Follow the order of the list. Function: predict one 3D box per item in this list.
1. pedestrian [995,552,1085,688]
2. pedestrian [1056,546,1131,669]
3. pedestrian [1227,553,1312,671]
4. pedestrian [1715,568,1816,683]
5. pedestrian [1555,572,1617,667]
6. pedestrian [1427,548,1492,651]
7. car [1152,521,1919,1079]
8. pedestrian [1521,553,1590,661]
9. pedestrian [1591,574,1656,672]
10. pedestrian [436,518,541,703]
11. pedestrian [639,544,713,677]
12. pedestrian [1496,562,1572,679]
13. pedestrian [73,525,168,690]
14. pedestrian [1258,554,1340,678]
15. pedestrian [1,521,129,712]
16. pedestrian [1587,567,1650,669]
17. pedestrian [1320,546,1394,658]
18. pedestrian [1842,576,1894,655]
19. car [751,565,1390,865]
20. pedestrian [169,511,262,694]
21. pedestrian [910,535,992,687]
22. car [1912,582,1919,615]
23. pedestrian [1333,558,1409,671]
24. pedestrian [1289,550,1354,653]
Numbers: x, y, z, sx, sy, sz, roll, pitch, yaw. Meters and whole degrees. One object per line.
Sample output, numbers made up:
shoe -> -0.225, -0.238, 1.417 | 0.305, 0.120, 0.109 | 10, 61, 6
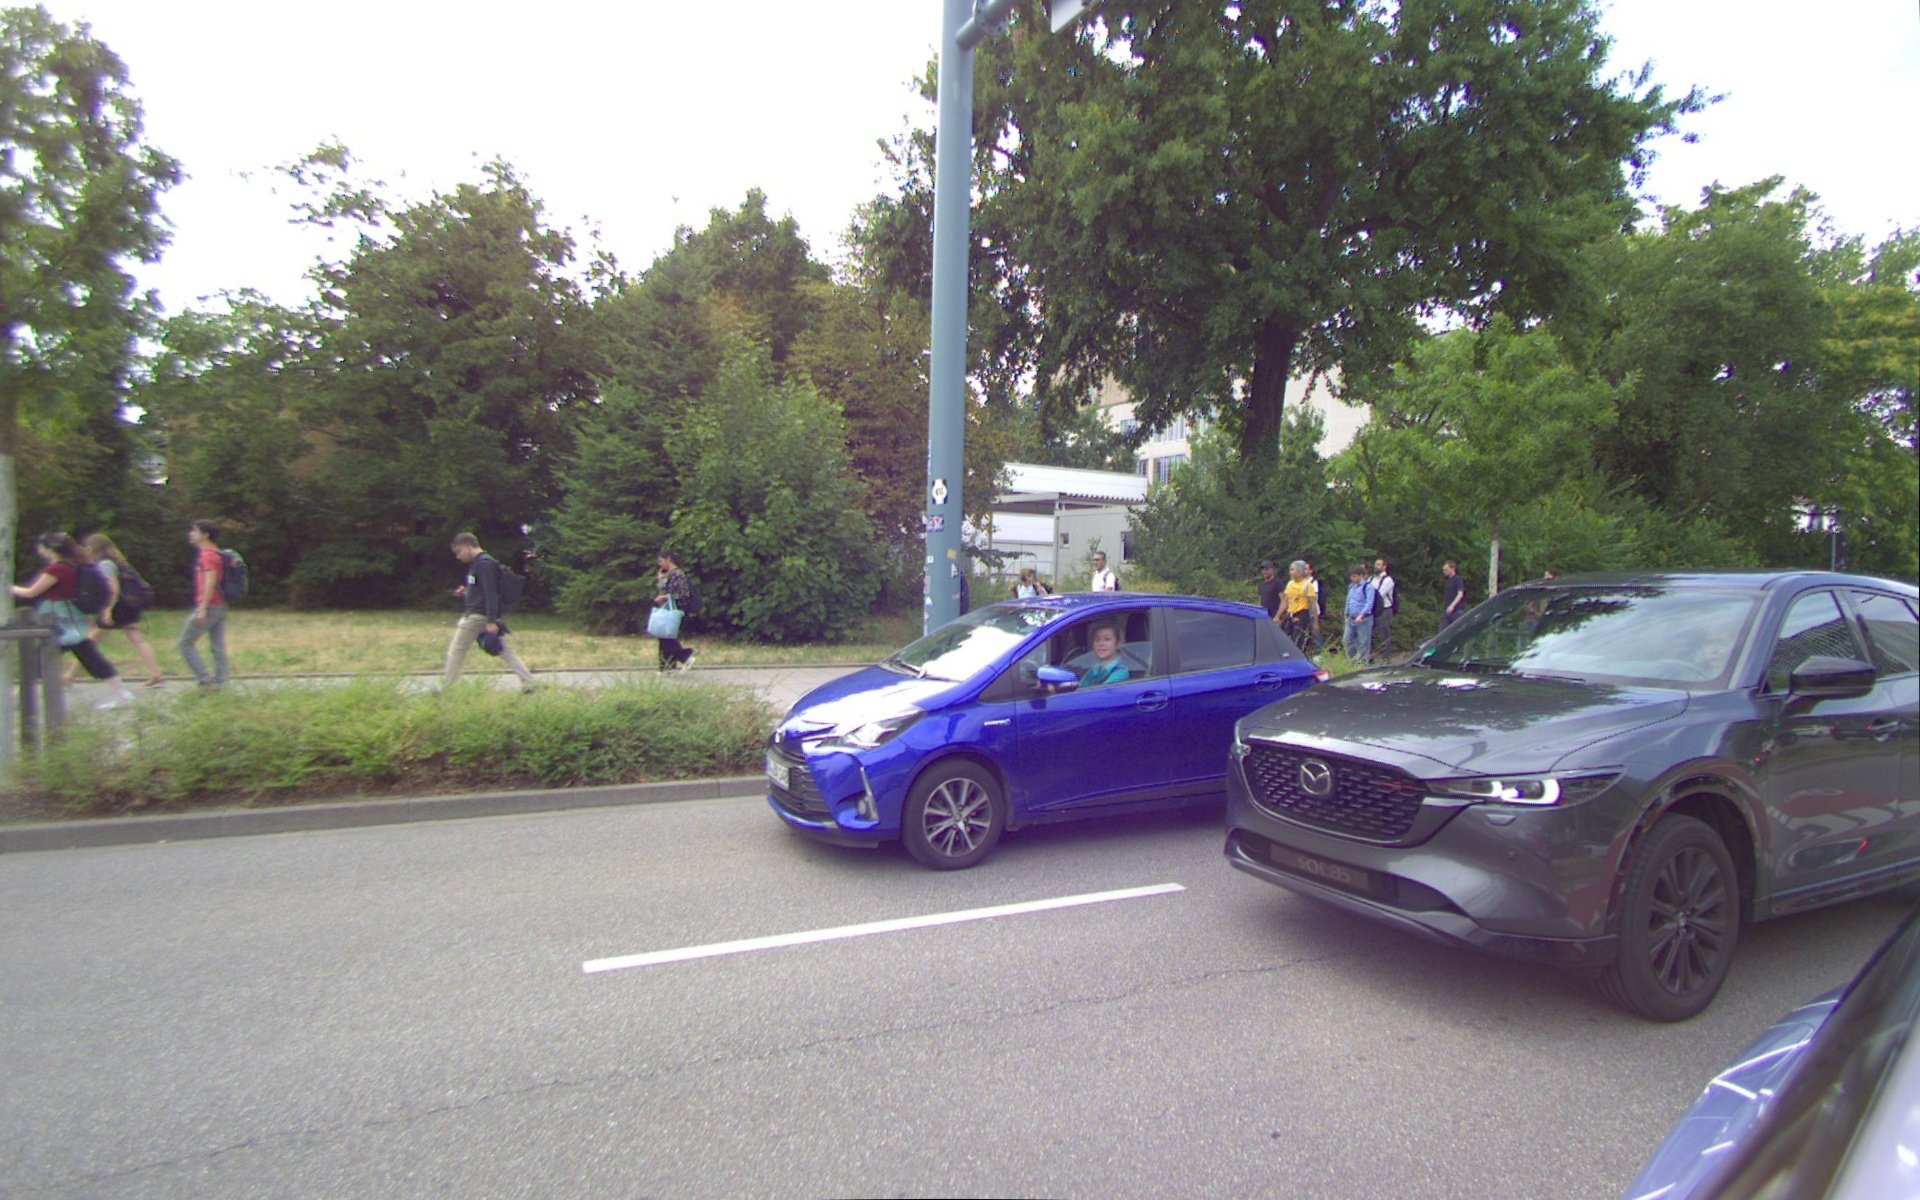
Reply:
pedestrian -> 0.980, 0.234, 12.572 | 0.795, 1.622, 0.779 | 1, 1, -24
pedestrian -> 1.978, 0.096, 15.020 | 0.795, 1.766, 0.725 | 1, 1, -24
pedestrian -> 4.557, 0.161, 14.912 | 0.951, 1.687, 0.660 | 1, 1, -27
pedestrian -> 13.441, 0.402, 16.927 | 0.871, 1.853, 0.936 | 2, 1, 3
pedestrian -> 12.018, 0.360, 19.448 | 0.764, 1.767, 0.660 | 1, 1, -27
pedestrian -> 8.810, -0.013, 17.851 | 0.764, 1.767, 0.660 | 1, 1, -27
car -> 3.358, 0.593, 4.909 | 4.549, 1.669, 1.909 | 0, 0, -27
pedestrian -> 9.969, 0.101, 16.957 | 0.764, 1.767, 0.627 | 1, 1, -27
pedestrian -> 12.328, 0.422, 18.819 | 0.764, 1.767, 0.660 | 1, 1, -27
pedestrian -> -4.913, 0.101, 10.584 | 0.934, 1.844, 0.696 | 1, 1, -24
pedestrian -> -3.540, 0.123, 12.612 | 0.769, 1.603, 0.639 | 1, 1, -24
pedestrian -> 8.904, 0.306, 15.708 | 0.764, 1.767, 0.660 | 1, 1, -27
pedestrian -> -8.678, 0.072, 10.477 | 0.639, 1.653, 0.470 | 1, 1, -24
pedestrian -> 4.818, 0.210, 14.390 | 0.824, 1.710, 0.660 | 1, 1, -27
pedestrian -> -8.203, 0.139, 9.301 | 0.738, 1.675, 0.558 | 1, 1, -24
pedestrian -> 11.730, 0.316, 18.024 | 0.773, 1.767, 0.584 | 1, 1, -27
pedestrian -> 6.545, 0.039, 16.682 | 0.938, 1.789, 0.659 | 1, -2, -27
pedestrian -> 21.491, 0.359, 23.948 | 0.725, 1.817, 0.648 | 1, 1, -27
car -> 0.696, 0.582, 6.604 | 3.752, 1.512, 1.708 | 1, 1, -22
pedestrian -> -7.514, 0.022, 10.229 | 0.650, 1.785, 0.487 | 1, 1, -24
pedestrian -> -0.117, 0.131, 12.733 | 0.795, 1.844, 0.659 | 1, 1, -24
car -> 45.688, -0.037, 45.668 | 1.640, 1.510, 3.588 | 0, 2, -28
pedestrian -> 6.230, 0.205, 15.347 | 0.795, 1.668, 0.660 | 1, 1, -27
pedestrian -> 6.214, 0.019, 17.412 | 0.764, 1.720, 0.660 | 1, 1, -27
